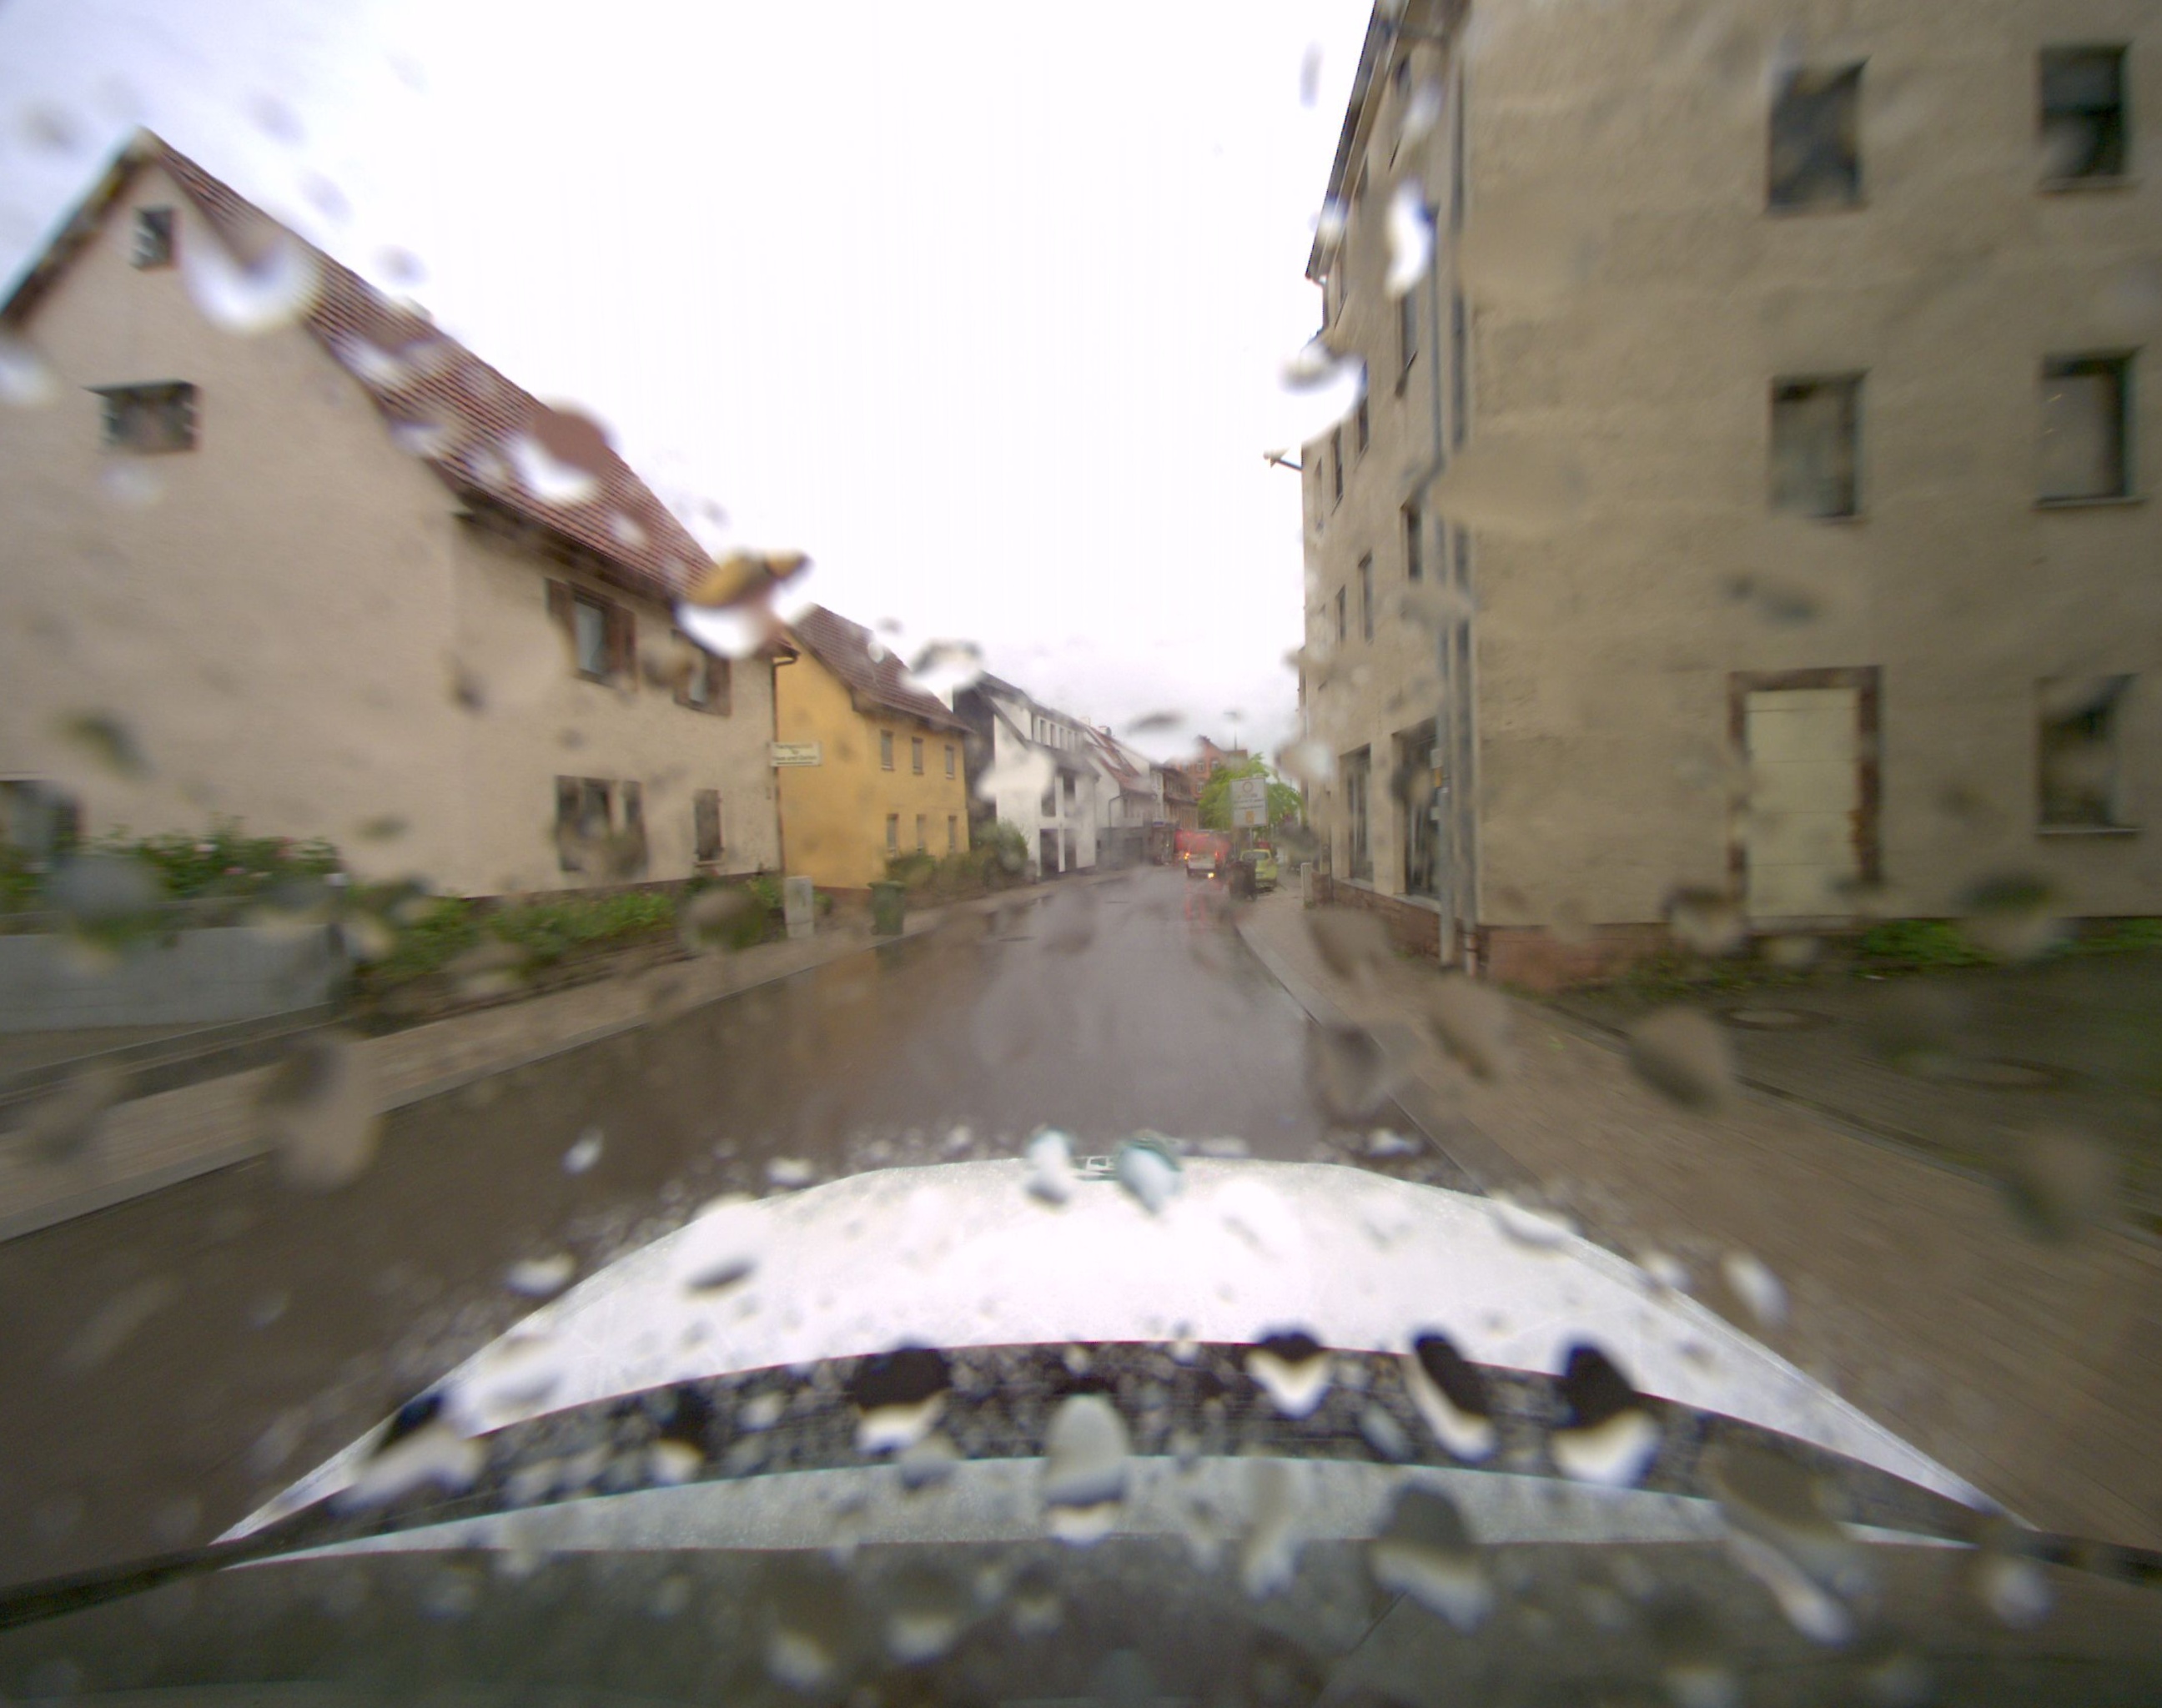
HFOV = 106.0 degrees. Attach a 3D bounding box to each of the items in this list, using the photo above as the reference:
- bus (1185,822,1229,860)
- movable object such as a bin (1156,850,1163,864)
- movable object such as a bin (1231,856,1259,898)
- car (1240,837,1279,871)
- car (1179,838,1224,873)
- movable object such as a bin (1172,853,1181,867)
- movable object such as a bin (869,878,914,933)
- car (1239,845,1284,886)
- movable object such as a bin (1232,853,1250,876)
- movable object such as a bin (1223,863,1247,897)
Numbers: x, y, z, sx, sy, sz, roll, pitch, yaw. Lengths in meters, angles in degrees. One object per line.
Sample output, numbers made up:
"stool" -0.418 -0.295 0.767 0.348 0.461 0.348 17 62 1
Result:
"bus" 11.395 -1.159 73.050 2.719 3.130 9.273 -1 0 16
"movable object such as a bin" 6.625 0.265 68.669 0.515 1.122 0.637 -1 -1 7
"movable object such as a bin" 4.878 0.669 24.271 0.762 1.173 1.545 -1 0 10
"car" 10.002 0.016 45.544 1.698 1.762 4.019 -1 0 18
"car" 7.041 0.087 47.311 2.179 1.851 4.320 -2 0 13
"movable object such as a bin" 7.849 0.510 67.052 0.629 1.122 0.521 -1 -1 11
"movable object such as a bin" -3.863 1.031 16.637 0.656 1.056 0.765 1 0 5
"car" 7.351 0.421 33.249 1.592 1.484 3.312 -4 0 12
"movable object such as a bin" 8.030 0.523 40.820 0.804 1.109 0.989 -1 0 14
"movable object such as a bin" 4.868 0.816 25.704 0.702 1.046 0.519 -1 -1 12
